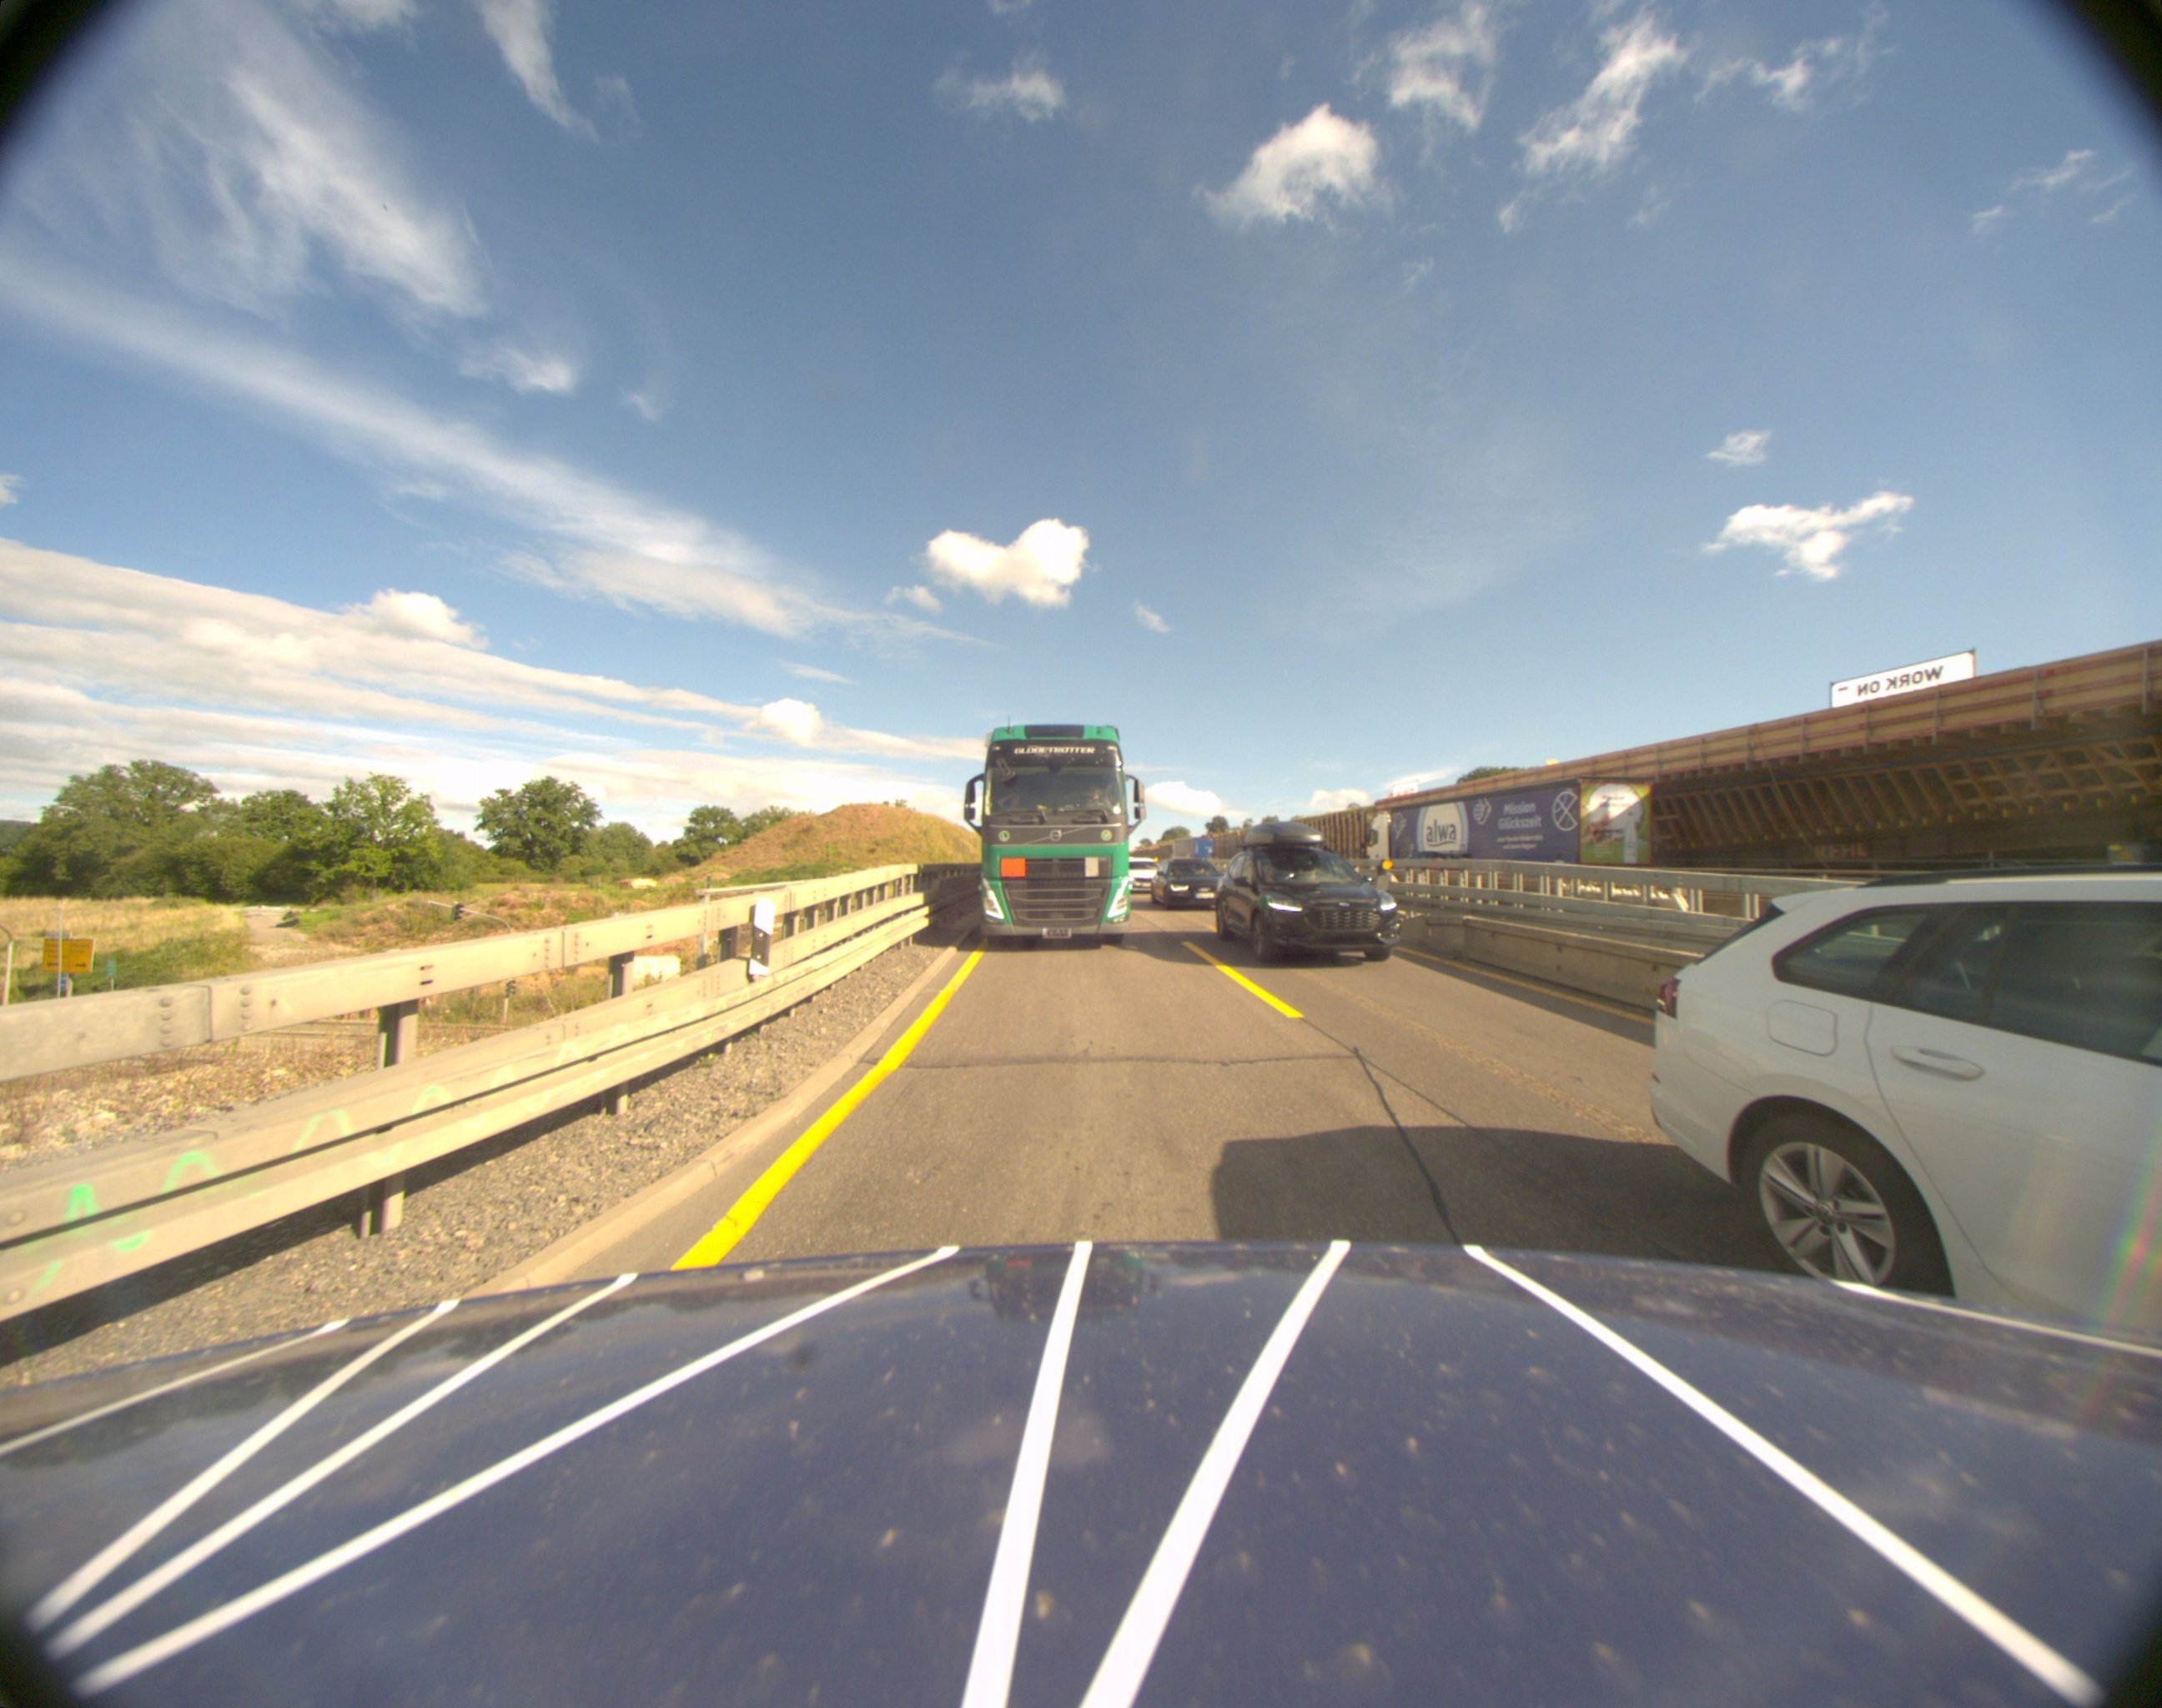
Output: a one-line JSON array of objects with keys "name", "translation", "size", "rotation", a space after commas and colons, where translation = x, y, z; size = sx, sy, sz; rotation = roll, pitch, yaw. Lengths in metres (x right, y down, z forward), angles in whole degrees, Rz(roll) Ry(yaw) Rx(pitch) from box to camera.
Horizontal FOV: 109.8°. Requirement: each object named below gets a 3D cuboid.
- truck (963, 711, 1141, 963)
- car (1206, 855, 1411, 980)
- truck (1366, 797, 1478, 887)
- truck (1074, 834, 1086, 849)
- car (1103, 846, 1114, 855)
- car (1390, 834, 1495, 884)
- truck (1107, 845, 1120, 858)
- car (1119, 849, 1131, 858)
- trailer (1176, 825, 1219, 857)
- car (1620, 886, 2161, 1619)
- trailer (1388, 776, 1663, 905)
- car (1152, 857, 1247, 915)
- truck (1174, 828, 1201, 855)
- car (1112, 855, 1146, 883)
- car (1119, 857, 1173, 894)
[{"name": "truck", "translation": [-0.617, -0.330, 16.833], "size": [2.664, 3.825, 10.313], "rotation": [-1, 1, -2]}, {"name": "car", "translation": [3.262, 0.810, 11.866], "size": [1.804, 1.533, 4.383], "rotation": [-1, 0, -1]}, {"name": "truck", "translation": [16.929, -0.595, 38.201], "size": [2.719, 4.114, 5.968], "rotation": [-1, 1, -3]}, {"name": "truck", "translation": [-0.319, -3.177, 196.519], "size": [2.664, 3.825, 10.313], "rotation": [-1, 1, -2]}, {"name": "car", "translation": [8.091, -1.021, 224.799], "size": [2.887, 2.329, 6.403], "rotation": [-1, 1, -2]}, {"name": "car", "translation": [13.968, 0.153, 29.649], "size": [1.928, 1.757, 4.325], "rotation": [-1, 1, -1]}, {"name": "truck", "translation": [10.121, -0.778, 238.217], "size": [3.179, 3.843, 8.231], "rotation": [-1, 1, -2]}, {"name": "car", "translation": [11.445, -0.174, 199.503], "size": [2.573, 2.329, 6.403], "rotation": [-1, 1, -2]}, {"name": "trailer", "translation": [14.665, -1.616, 96.662], "size": [2.870, 3.646, 13.524], "rotation": [-1, 1, -2]}, {"name": "car", "translation": [3.218, 0.927, 1.030], "size": [1.774, 1.482, 4.516], "rotation": [1, 1, 1]}, {"name": "trailer", "translation": [17.290, -0.533, 31.627], "size": [2.695, 4.132, 13.805], "rotation": [-1, 1, -3]}, {"name": "car", "translation": [3.357, 0.858, 22.449], "size": [1.949, 1.422, 4.503], "rotation": [0, 1, -2]}, {"name": "truck", "translation": [14.459, -1.721, 103.696], "size": [2.850, 3.608, 4.808], "rotation": [-1, 1, -2]}, {"name": "car", "translation": [2.825, 0.843, 45.638], "size": [1.659, 1.510, 3.998], "rotation": [-1, 1, -2]}, {"name": "car", "translation": [2.739, 0.893, 32.924], "size": [1.949, 1.422, 4.407], "rotation": [-1, 0, -1]}]
